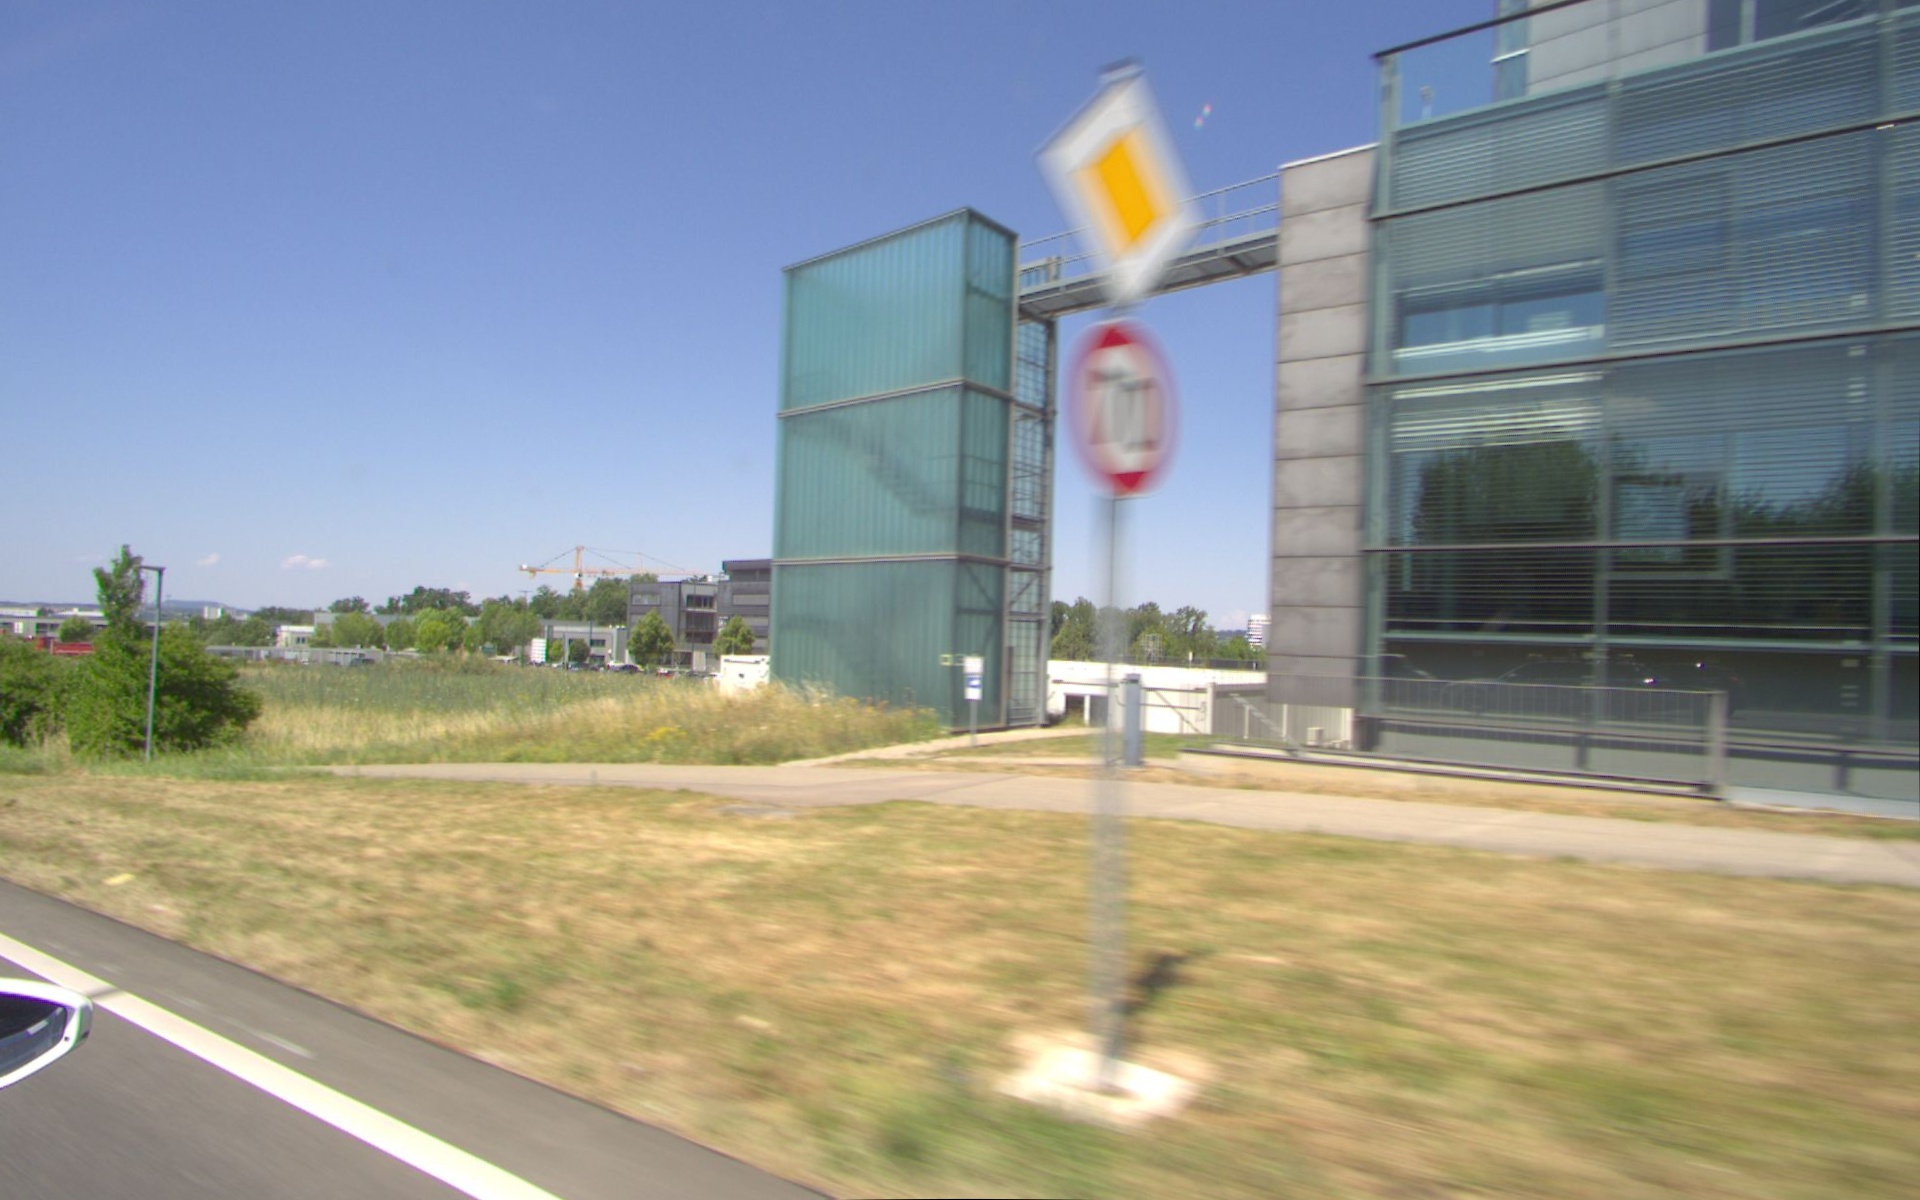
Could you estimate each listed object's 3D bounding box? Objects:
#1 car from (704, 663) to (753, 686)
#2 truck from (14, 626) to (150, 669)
[{"bbox_3d":[-21.443,6.936,92.809,1.977,1.938,3.972,1,-3,41],"label":"car"},{"bbox_3d":[-84.989,4.659,97.245,9.289,3.730,3.115,4,-3,-30],"label":"truck"}]
